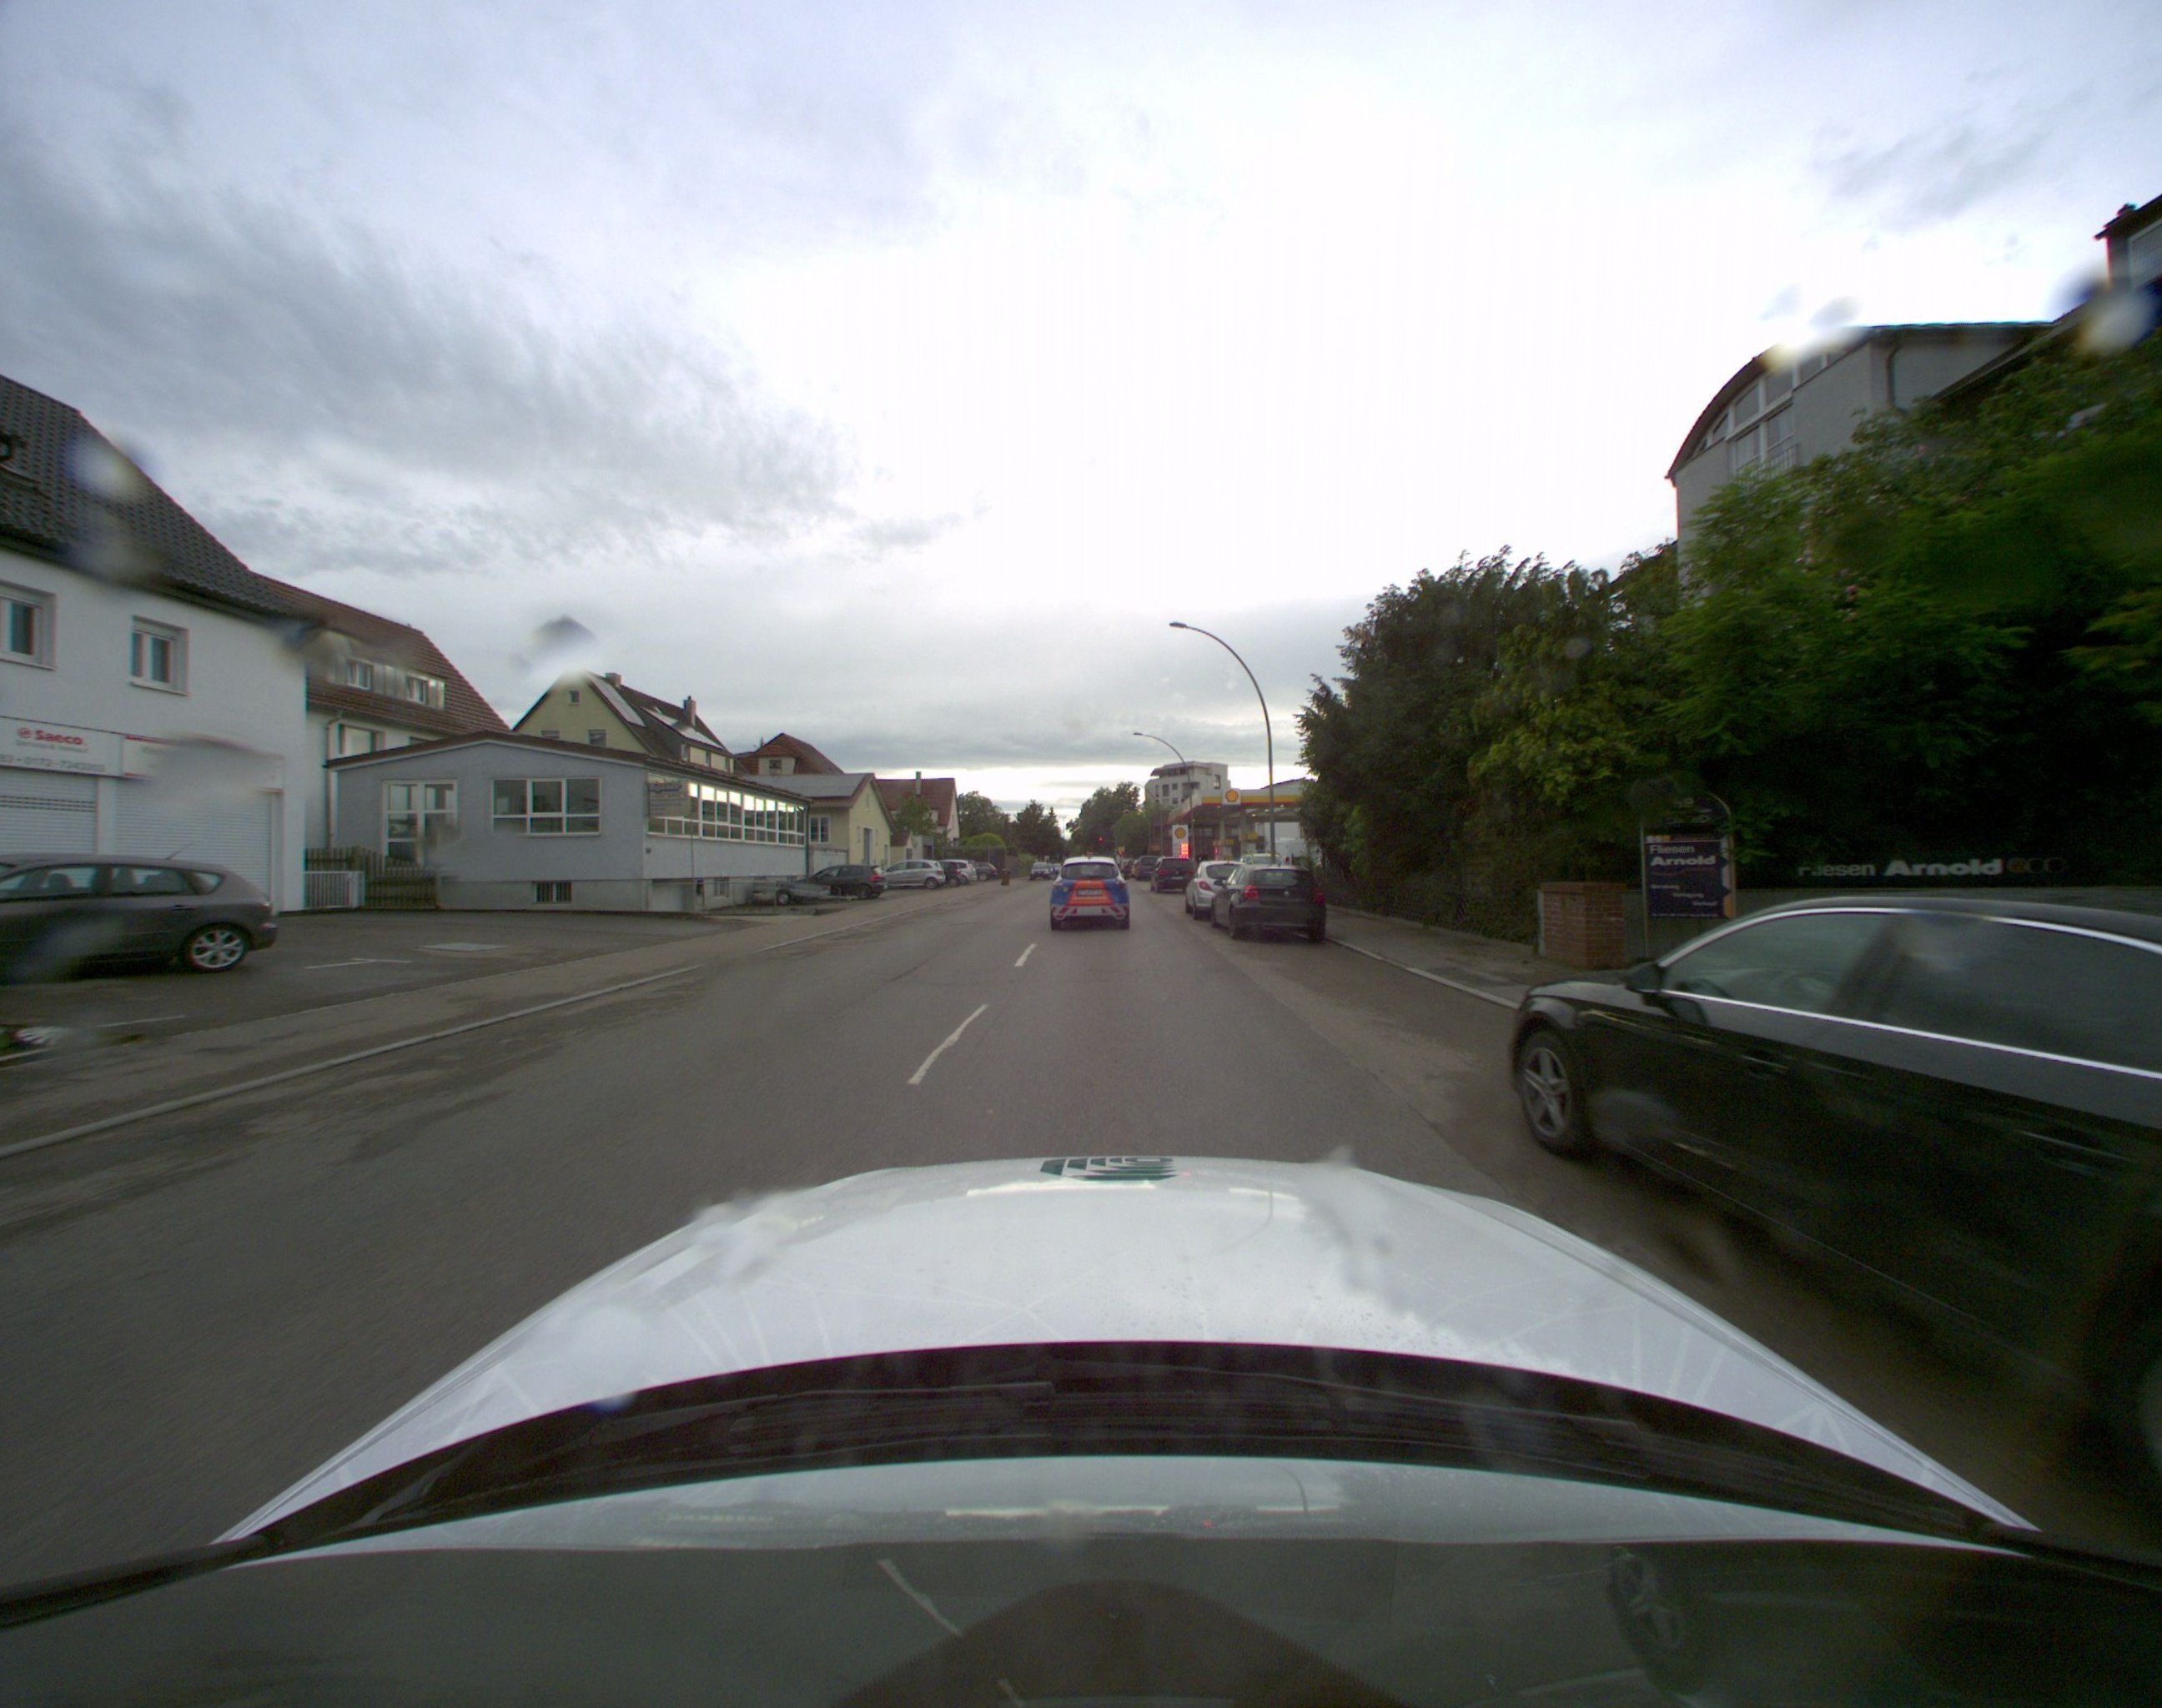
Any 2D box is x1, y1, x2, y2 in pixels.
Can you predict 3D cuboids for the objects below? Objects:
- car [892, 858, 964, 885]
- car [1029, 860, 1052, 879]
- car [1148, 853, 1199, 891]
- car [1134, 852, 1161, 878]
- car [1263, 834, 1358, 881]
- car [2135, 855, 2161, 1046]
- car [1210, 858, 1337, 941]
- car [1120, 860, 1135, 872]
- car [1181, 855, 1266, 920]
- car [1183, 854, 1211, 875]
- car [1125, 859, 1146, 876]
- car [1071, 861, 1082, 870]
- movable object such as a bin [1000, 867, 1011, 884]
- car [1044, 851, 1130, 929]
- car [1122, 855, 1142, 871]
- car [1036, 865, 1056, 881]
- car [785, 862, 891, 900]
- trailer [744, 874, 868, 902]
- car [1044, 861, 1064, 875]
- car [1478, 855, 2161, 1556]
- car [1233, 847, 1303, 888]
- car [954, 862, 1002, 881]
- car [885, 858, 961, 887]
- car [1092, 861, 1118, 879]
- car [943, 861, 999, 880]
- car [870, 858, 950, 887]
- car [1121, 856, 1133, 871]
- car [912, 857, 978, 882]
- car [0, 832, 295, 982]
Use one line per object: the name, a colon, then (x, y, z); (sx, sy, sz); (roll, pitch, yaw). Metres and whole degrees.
car: (-9.163, 1.026, 49.115); (4.076, 1.503, 1.754); (-1, 0, -5)
car: (-3.412, 1.284, 69.779); (1.602, 1.506, 3.708); (-2, -1, 2)
car: (4.186, 0.781, 37.460); (1.986, 1.596, 4.001); (-1, 0, 2)
car: (4.800, 0.804, 59.445); (1.650, 1.738, 4.445); (1, -1, 1)
car: (13.072, 0.165, 46.430); (4.805, 2.520, 2.232); (-1, 0, -21)
car: (10.060, 0.794, 5.335); (3.971, 1.429, 1.702); (2, 0, 2)
car: (3.657, 0.802, 16.117); (1.731, 1.403, 3.720); (1, 0, 2)
car: (6.434, 1.629, 112.501); (1.859, 1.665, 4.321); (0, -1, 1)
car: (3.626, 0.796, 21.278); (1.730, 1.502, 3.884); (1, 0, 3)
car: (10.186, 0.910, 71.798); (1.814, 1.759, 3.998); (-1, -1, -1)
car: (4.601, 1.146, 69.471); (1.650, 1.402, 3.802); (-1, -1, 1)
car: (-0.736, 1.843, 134.820); (1.619, 1.433, 3.687); (-1, -1, 3)
movable object such as a bin: (-5.065, 1.451, 55.012); (0.593, 1.057, 0.687); (4, 1, 2)
car: (0.177, 0.744, 18.820); (1.739, 1.581, 4.001); (-1, 0, 2)
car: (5.656, 1.008, 90.992); (2.083, 1.662, 4.560); (0, 0, 1)
car: (-3.342, 1.766, 77.983); (1.540, 1.403, 3.598); (-2, -1, 2)
car: (-10.123, 1.107, 34.169); (3.861, 1.438, 1.768); (-1, 0, 0)
trailer: (-10.616, 1.320, 31.643); (4.184, 0.943, 1.793); (-1, 0, -1)
car: (-2.882, 1.496, 88.064); (1.800, 1.403, 3.946); (-2, -1, 2)
car: (3.136, 0.733, 2.662); (1.745, 1.418, 4.111); (-1, 0, 2)
car: (8.160, 0.570, 35.907); (1.989, 1.683, 3.996); (-1, 0, -3)
car: (-8.044, 1.368, 63.973); (3.577, 1.457, 1.754); (1, -1, -4)
car: (-9.109, 1.061, 47.169); (4.074, 1.533, 1.812); (-1, 0, -3)
car: (2.242, 1.438, 75.421); (1.983, 1.574, 4.008); (0, 0, 7)
car: (-8.203, 1.219, 61.084); (4.078, 1.414, 1.710); (0, 0, -6)
car: (-9.386, 0.999, 44.934); (4.076, 1.533, 1.997); (-1, 0, -5)
car: (6.710, 1.384, 118.509); (1.770, 2.029, 4.759); (0, 0, 4)
car: (-8.792, 0.974, 52.961); (4.076, 1.514, 1.880); (-1, 0, -5)
car: (-12.265, 0.557, 9.476); (1.806, 1.530, 4.017); (4, 0, 16)
